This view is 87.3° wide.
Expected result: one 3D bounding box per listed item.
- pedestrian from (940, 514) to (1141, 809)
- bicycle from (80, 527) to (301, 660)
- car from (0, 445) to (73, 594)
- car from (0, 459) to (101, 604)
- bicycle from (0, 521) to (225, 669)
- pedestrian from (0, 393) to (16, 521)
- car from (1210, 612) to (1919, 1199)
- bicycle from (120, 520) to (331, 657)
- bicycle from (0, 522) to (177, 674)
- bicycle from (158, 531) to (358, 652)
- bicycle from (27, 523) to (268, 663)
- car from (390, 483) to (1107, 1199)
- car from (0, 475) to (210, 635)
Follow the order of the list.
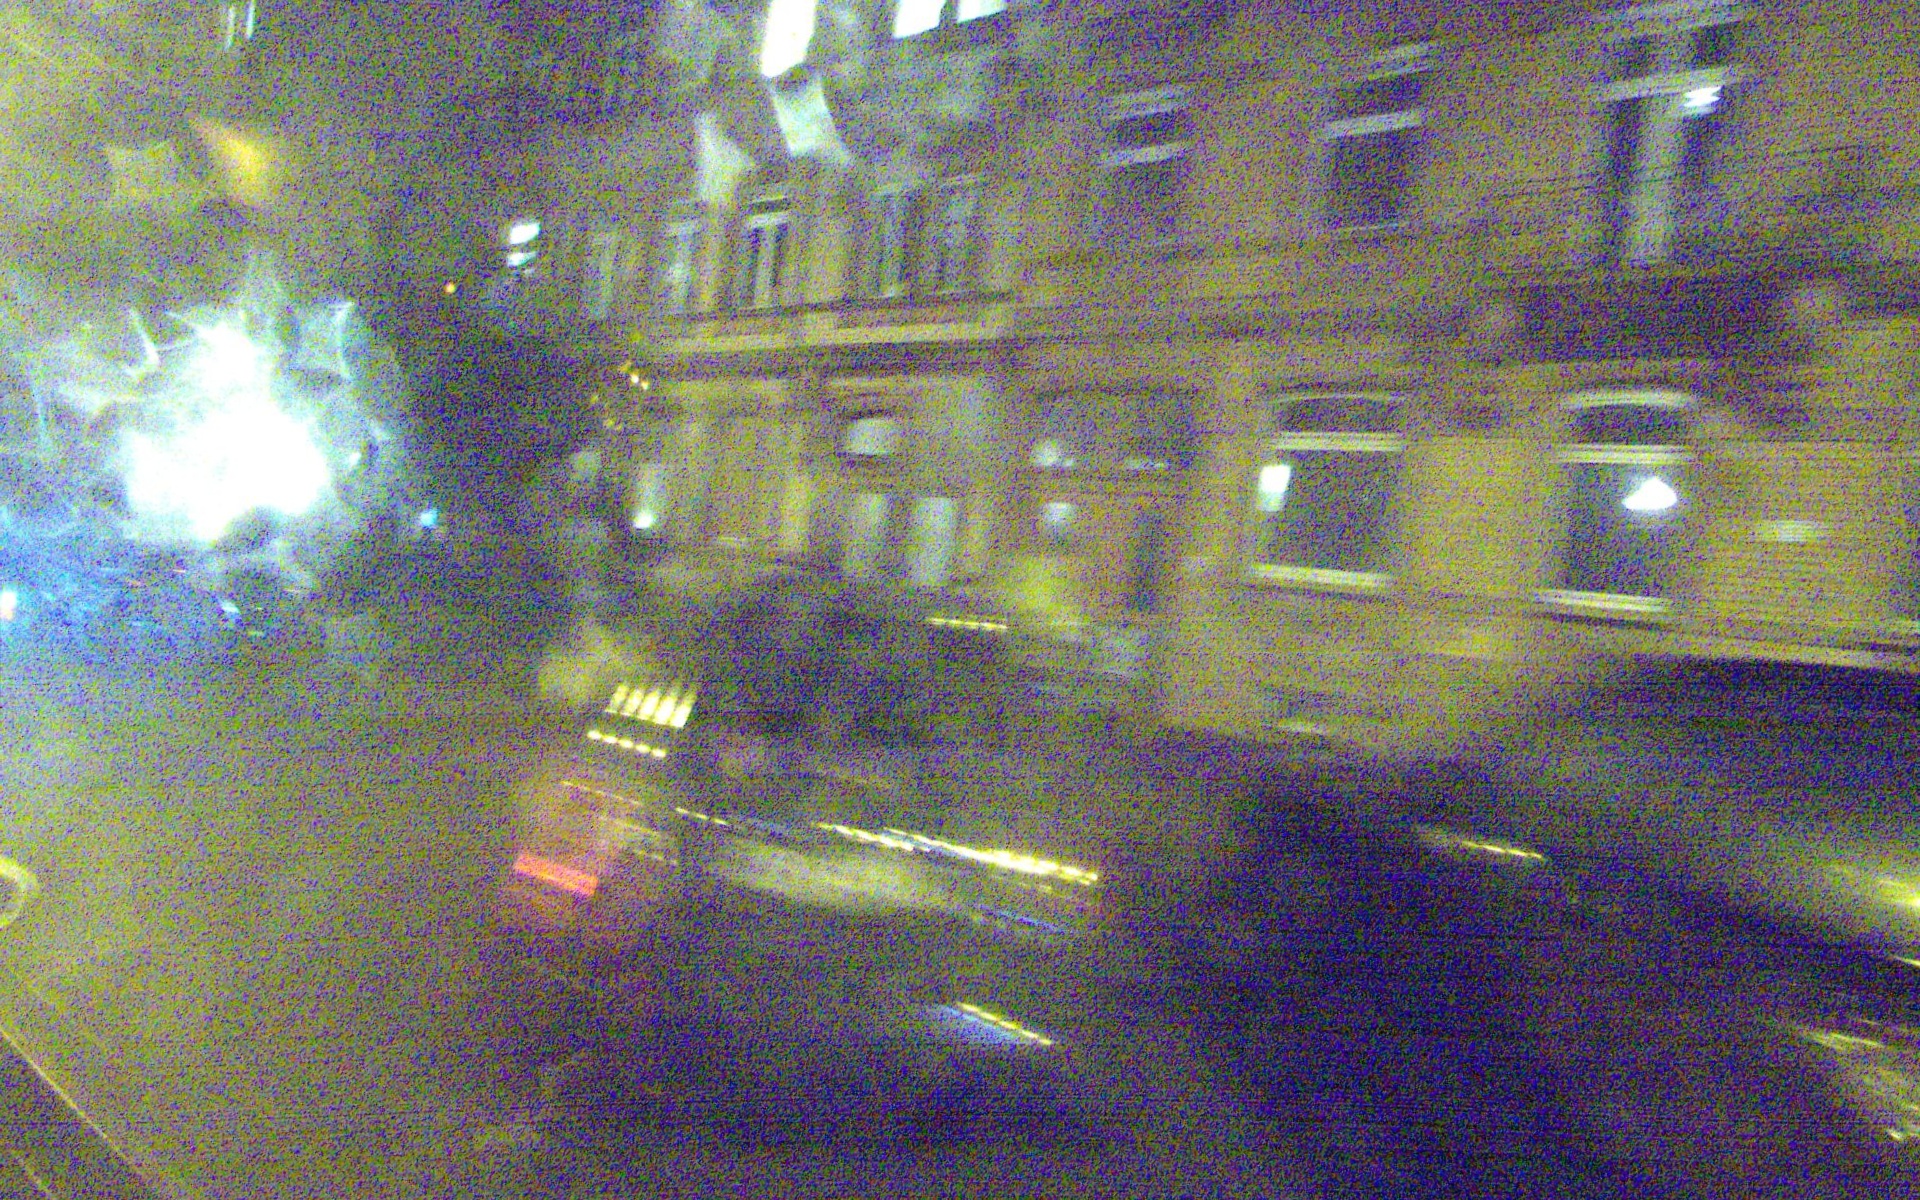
[{"bbox_3d":[0.584,0.404,7.186,0.976,1.880,0.869,7,3,29],"label":"pedestrian"},{"bbox_3d":[-7.671,-0.064,10.053,1.793,1.090,0.446,7,2,0],"label":"bicycle"},{"bbox_3d":[-14.583,-1.290,12.824,2.028,2.073,4.801,7,-1,1],"label":"car"},{"bbox_3d":[-12.354,-0.901,11.605,1.615,1.734,3.564,6,1,3],"label":"car"},{"bbox_3d":[-7.698,-0.052,8.997,1.793,1.090,0.519,7,2,0],"label":"bicycle"},{"bbox_3d":[-27.348,-4.047,28.131,0.778,3.570,0.893,7,0,32],"label":"pedestrian"},{"bbox_3d":[2.119,0.945,2.415,1.565,1.599,3.649,7,-1,-7],"label":"car"},{"bbox_3d":[-7.663,-0.119,10.527,1.793,1.206,0.446,7,2,0],"label":"bicycle"},{"bbox_3d":[-7.701,-0.049,8.437,1.793,1.090,0.519,7,2,0],"label":"bicycle"},{"bbox_3d":[-7.648,-0.088,10.991,1.793,1.090,0.446,7,2,0],"label":"bicycle"},{"bbox_3d":[-7.687,-0.063,9.550,1.793,1.090,0.519,7,2,0],"label":"bicycle"},{"bbox_3d":[-0.588,0.567,4.229,1.563,1.601,3.649,6,1,-3],"label":"car"},{"bbox_3d":[-9.907,-0.515,9.944,1.701,1.512,3.999,6,1,5],"label":"car"}]
